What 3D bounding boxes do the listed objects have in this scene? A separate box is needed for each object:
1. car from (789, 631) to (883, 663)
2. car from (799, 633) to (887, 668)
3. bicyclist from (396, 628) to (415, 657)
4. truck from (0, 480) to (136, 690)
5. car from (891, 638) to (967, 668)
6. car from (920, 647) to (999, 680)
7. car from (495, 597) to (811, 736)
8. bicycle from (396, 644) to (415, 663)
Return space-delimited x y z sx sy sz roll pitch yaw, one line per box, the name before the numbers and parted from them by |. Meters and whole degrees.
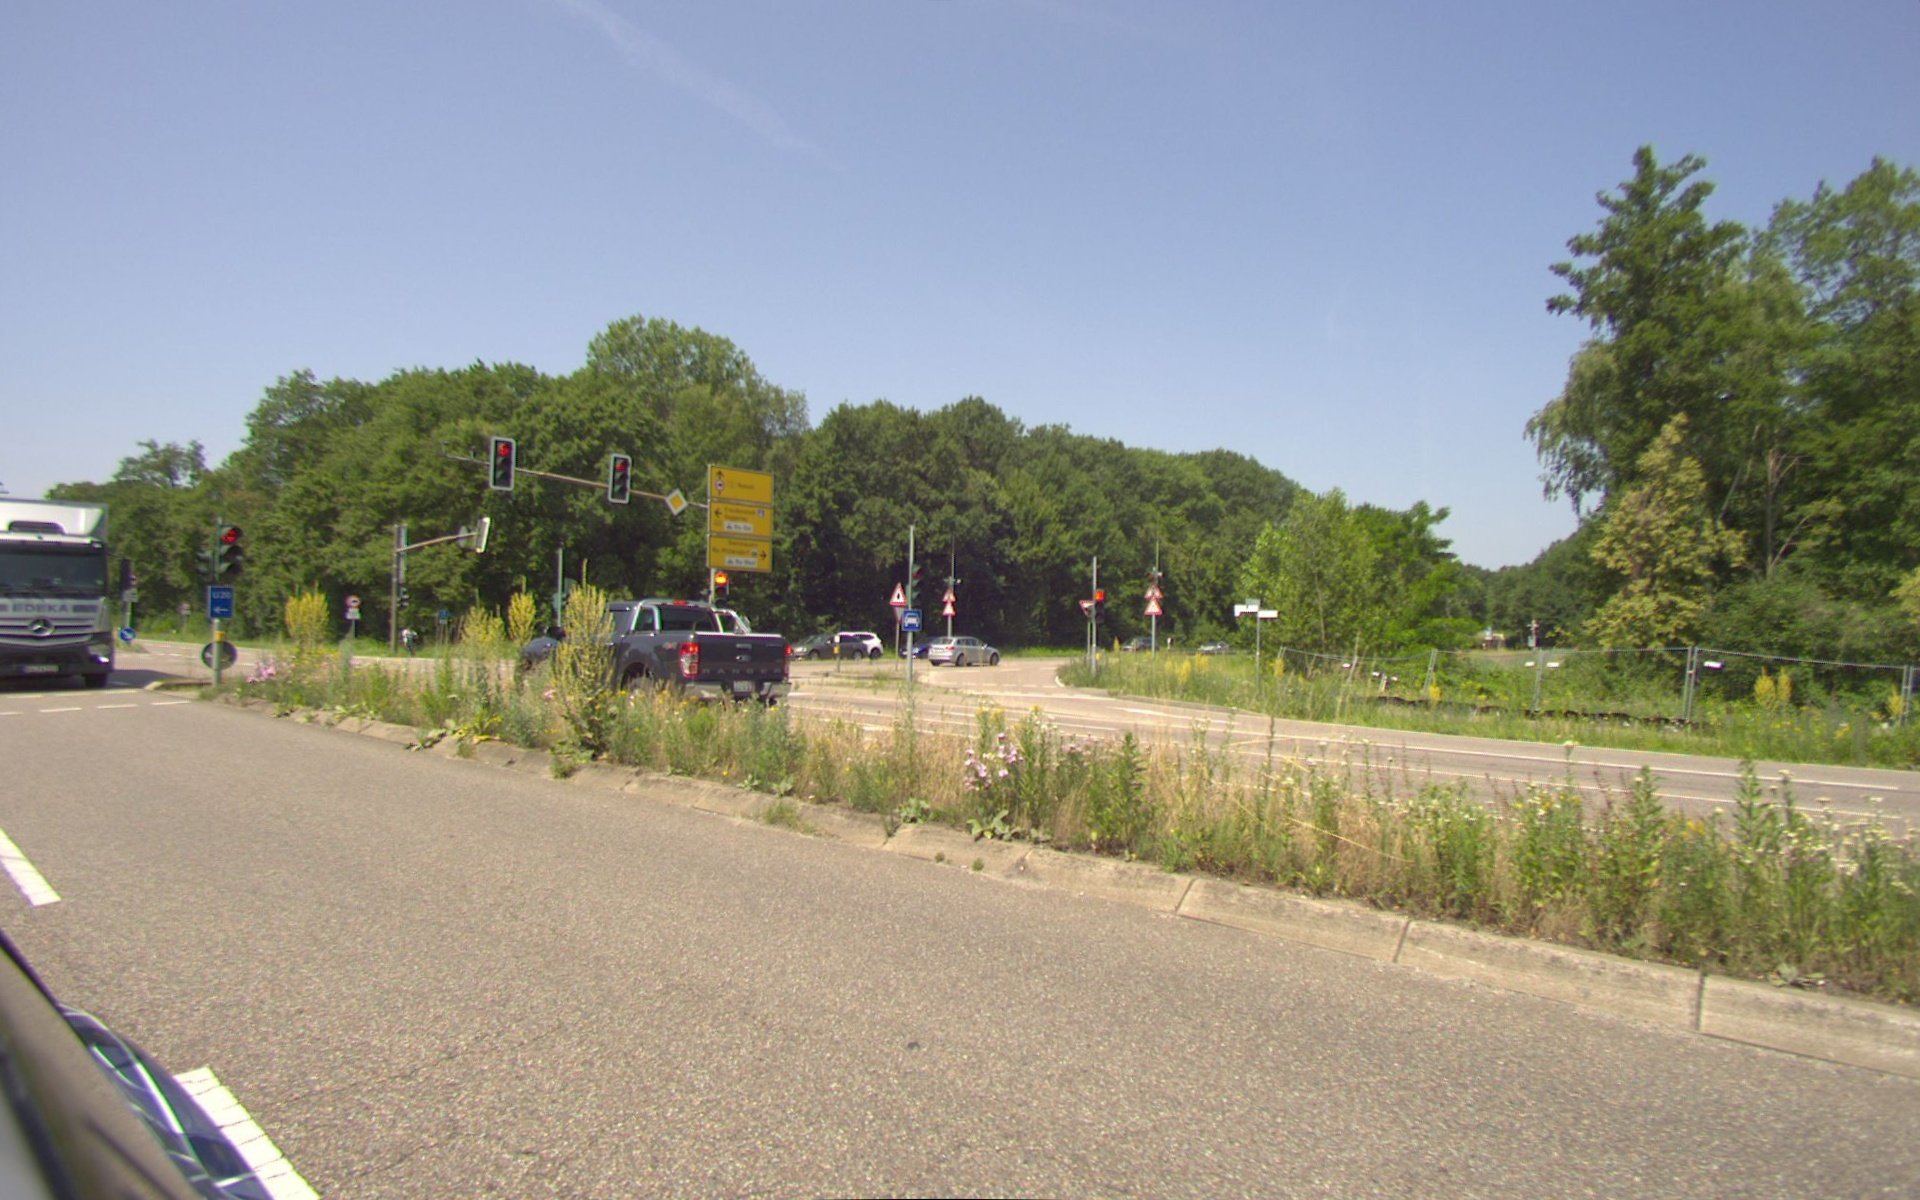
car | -6.248 2.409 51.601 1.860 1.530 4.756 -1 -3 40
car | -6.615 2.863 57.565 2.066 1.910 4.752 -1 -4 42
bicyclist | -28.237 2.159 51.506 0.651 1.476 0.811 3 -3 -39
truck | -21.766 -0.189 23.044 11.314 3.914 2.718 -1 -2 41
car | -1.884 3.303 62.780 1.999 1.770 4.756 -1 -3 40
car | 0.011 3.022 48.448 1.767 1.402 3.965 -1 -2 36
car | -4.686 0.907 14.892 5.365 1.691 1.972 -1 -4 43
bicycle | -28.231 2.709 51.474 0.558 0.930 1.608 3 -3 -38
